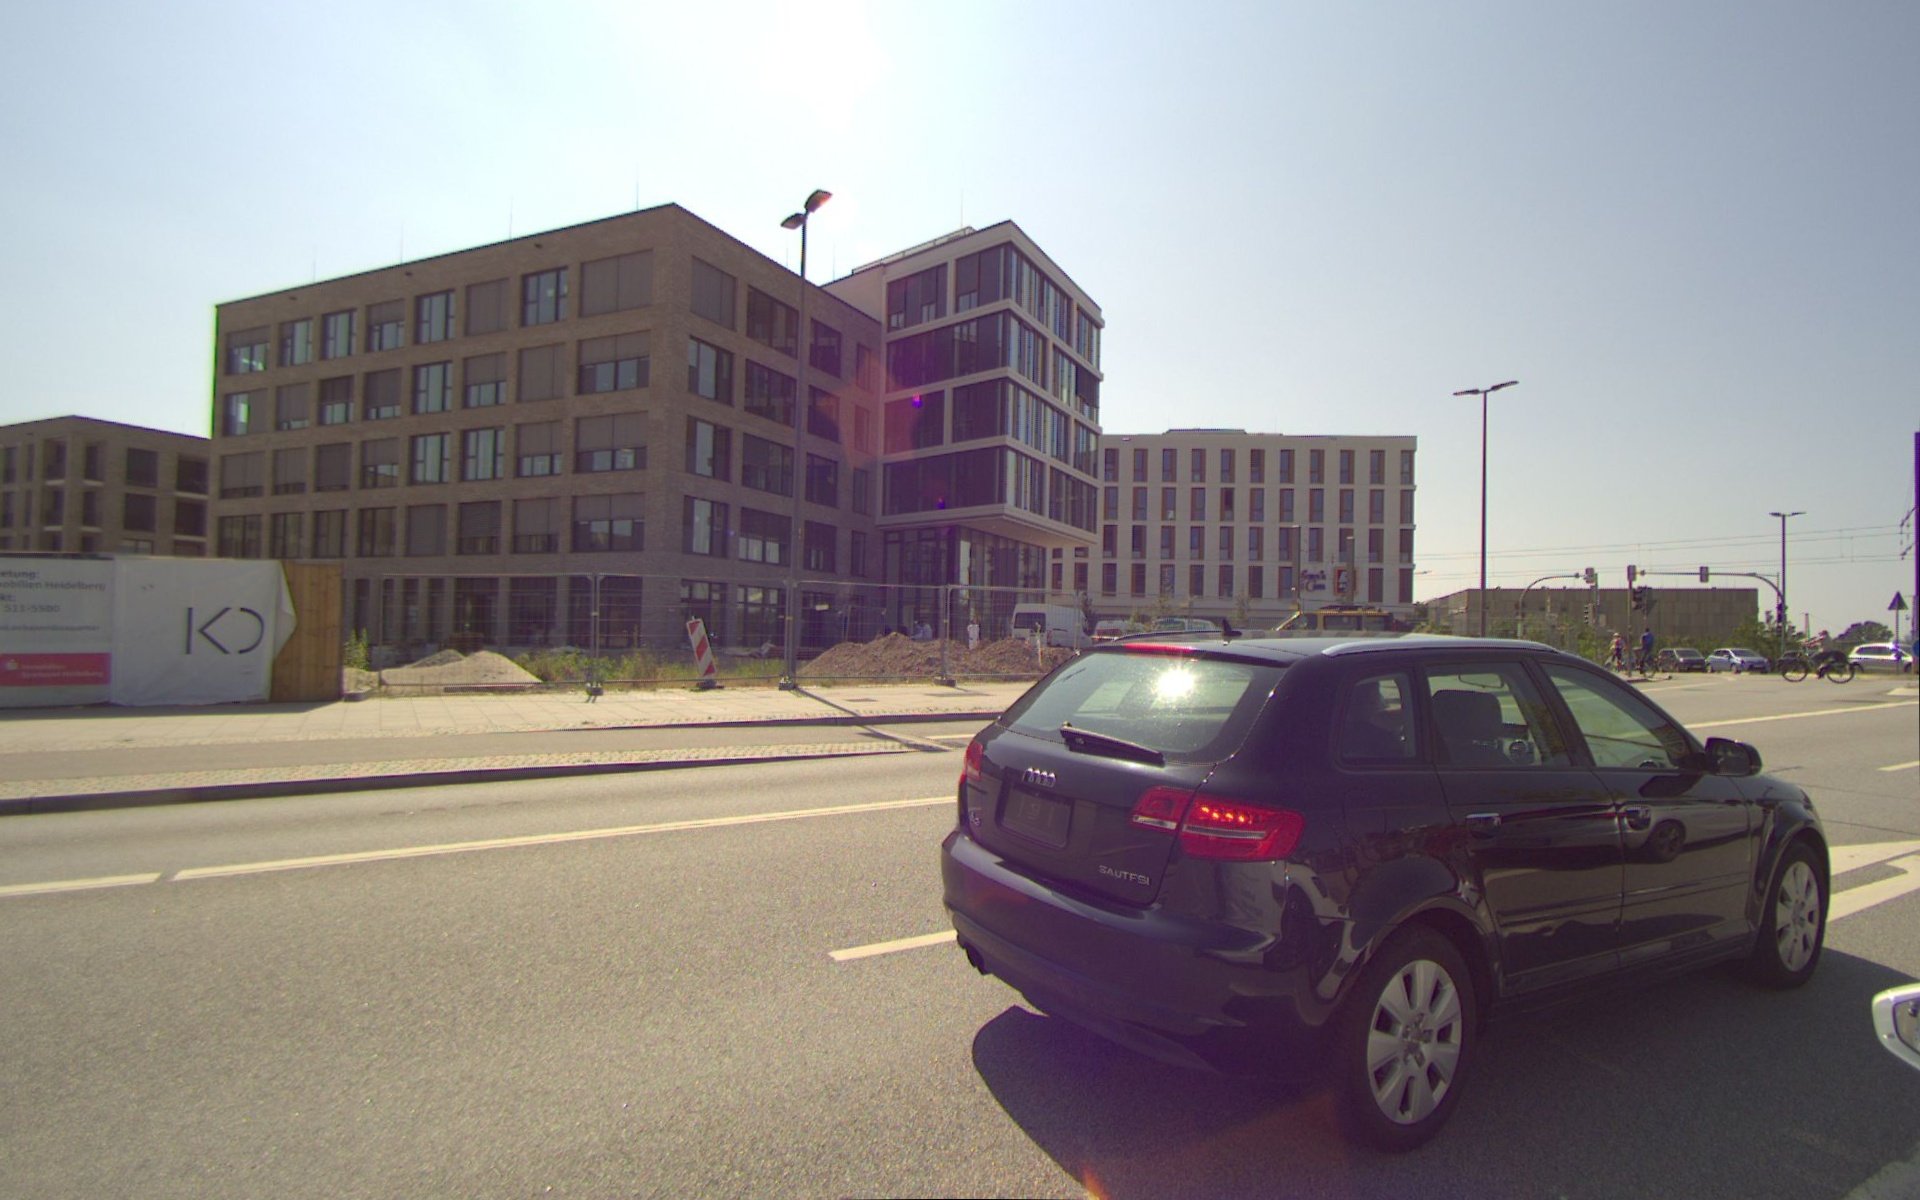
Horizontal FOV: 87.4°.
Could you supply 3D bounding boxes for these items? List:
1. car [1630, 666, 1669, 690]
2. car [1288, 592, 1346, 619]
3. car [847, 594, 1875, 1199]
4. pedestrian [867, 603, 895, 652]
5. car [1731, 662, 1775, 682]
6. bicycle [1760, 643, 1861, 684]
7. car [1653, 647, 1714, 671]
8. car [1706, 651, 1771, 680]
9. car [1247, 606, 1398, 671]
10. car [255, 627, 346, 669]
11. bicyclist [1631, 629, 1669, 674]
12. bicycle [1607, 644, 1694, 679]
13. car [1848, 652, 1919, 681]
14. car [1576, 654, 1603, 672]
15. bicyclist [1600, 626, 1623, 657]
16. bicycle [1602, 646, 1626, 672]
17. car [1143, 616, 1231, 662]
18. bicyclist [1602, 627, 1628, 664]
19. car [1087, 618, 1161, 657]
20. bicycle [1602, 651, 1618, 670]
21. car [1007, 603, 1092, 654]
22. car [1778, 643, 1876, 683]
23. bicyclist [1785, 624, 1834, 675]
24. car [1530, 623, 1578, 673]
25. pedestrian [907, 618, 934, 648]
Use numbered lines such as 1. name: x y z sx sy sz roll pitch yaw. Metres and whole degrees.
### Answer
1. car: 66.614 7.513 97.151 1.960 2.040 4.001 2 0 18
2. car: 29.118 0.431 82.063 1.986 2.040 3.949 2 0 -43
3. car: 1.724 0.779 3.987 3.953 1.430 1.697 2 0 -30
4. pedestrian: -3.411 1.177 43.381 0.949 2.040 0.940 2 0 -17
5. car: 61.937 5.601 78.513 1.493 1.321 3.224 2 0 16
6. bicycle: 27.074 1.999 32.026 0.670 1.142 2.345 2 0 -31
7. car: 51.266 4.152 71.287 1.960 1.475 4.488 2 0 15
8. car: 45.419 3.799 58.684 1.554 1.458 3.156 2 0 7
9. car: 12.092 1.257 33.771 4.395 1.915 2.001 2 0 8
10. car: -30.379 2.186 46.253 3.708 1.675 1.834 2 0 26
11. bicyclist: 25.200 1.886 36.692 0.852 1.580 0.819 2 0 -29
12. bicycle: 25.177 2.258 36.690 0.719 1.148 2.516 -1 -4 -27
13. car: 44.604 3.200 48.531 1.254 1.257 2.485 1 -1 1
14. car: 58.467 5.846 93.322 1.653 1.475 3.996 2 0 26
15. bicyclist: 26.210 1.656 40.425 0.718 1.191 0.657 2 0 33
16. bicycle: 27.918 2.500 42.860 0.596 1.020 2.501 1 -1 39
17. car: 9.595 1.626 42.149 1.969 1.730 4.546 2 0 35
18. bicyclist: 27.960 1.925 42.866 0.831 1.522 0.656 2 0 41
19. car: 7.177 1.611 43.689 1.773 1.528 3.991 2 0 31
20. bicycle: 26.144 2.426 40.404 0.507 0.701 2.247 1 -1 33
21. car: 4.042 1.235 44.713 2.175 2.083 4.164 2 0 30
22. car: 49.809 3.581 57.800 1.962 2.040 3.996 2 -1 -6
23. bicyclist: 27.078 1.571 32.036 0.813 1.589 0.940 2 0 -30
24. car: 26.318 2.092 44.591 1.645 2.040 3.993 2 0 29
25. pedestrian: -1.937 1.619 49.313 1.099 1.391 0.742 2 0 -17
